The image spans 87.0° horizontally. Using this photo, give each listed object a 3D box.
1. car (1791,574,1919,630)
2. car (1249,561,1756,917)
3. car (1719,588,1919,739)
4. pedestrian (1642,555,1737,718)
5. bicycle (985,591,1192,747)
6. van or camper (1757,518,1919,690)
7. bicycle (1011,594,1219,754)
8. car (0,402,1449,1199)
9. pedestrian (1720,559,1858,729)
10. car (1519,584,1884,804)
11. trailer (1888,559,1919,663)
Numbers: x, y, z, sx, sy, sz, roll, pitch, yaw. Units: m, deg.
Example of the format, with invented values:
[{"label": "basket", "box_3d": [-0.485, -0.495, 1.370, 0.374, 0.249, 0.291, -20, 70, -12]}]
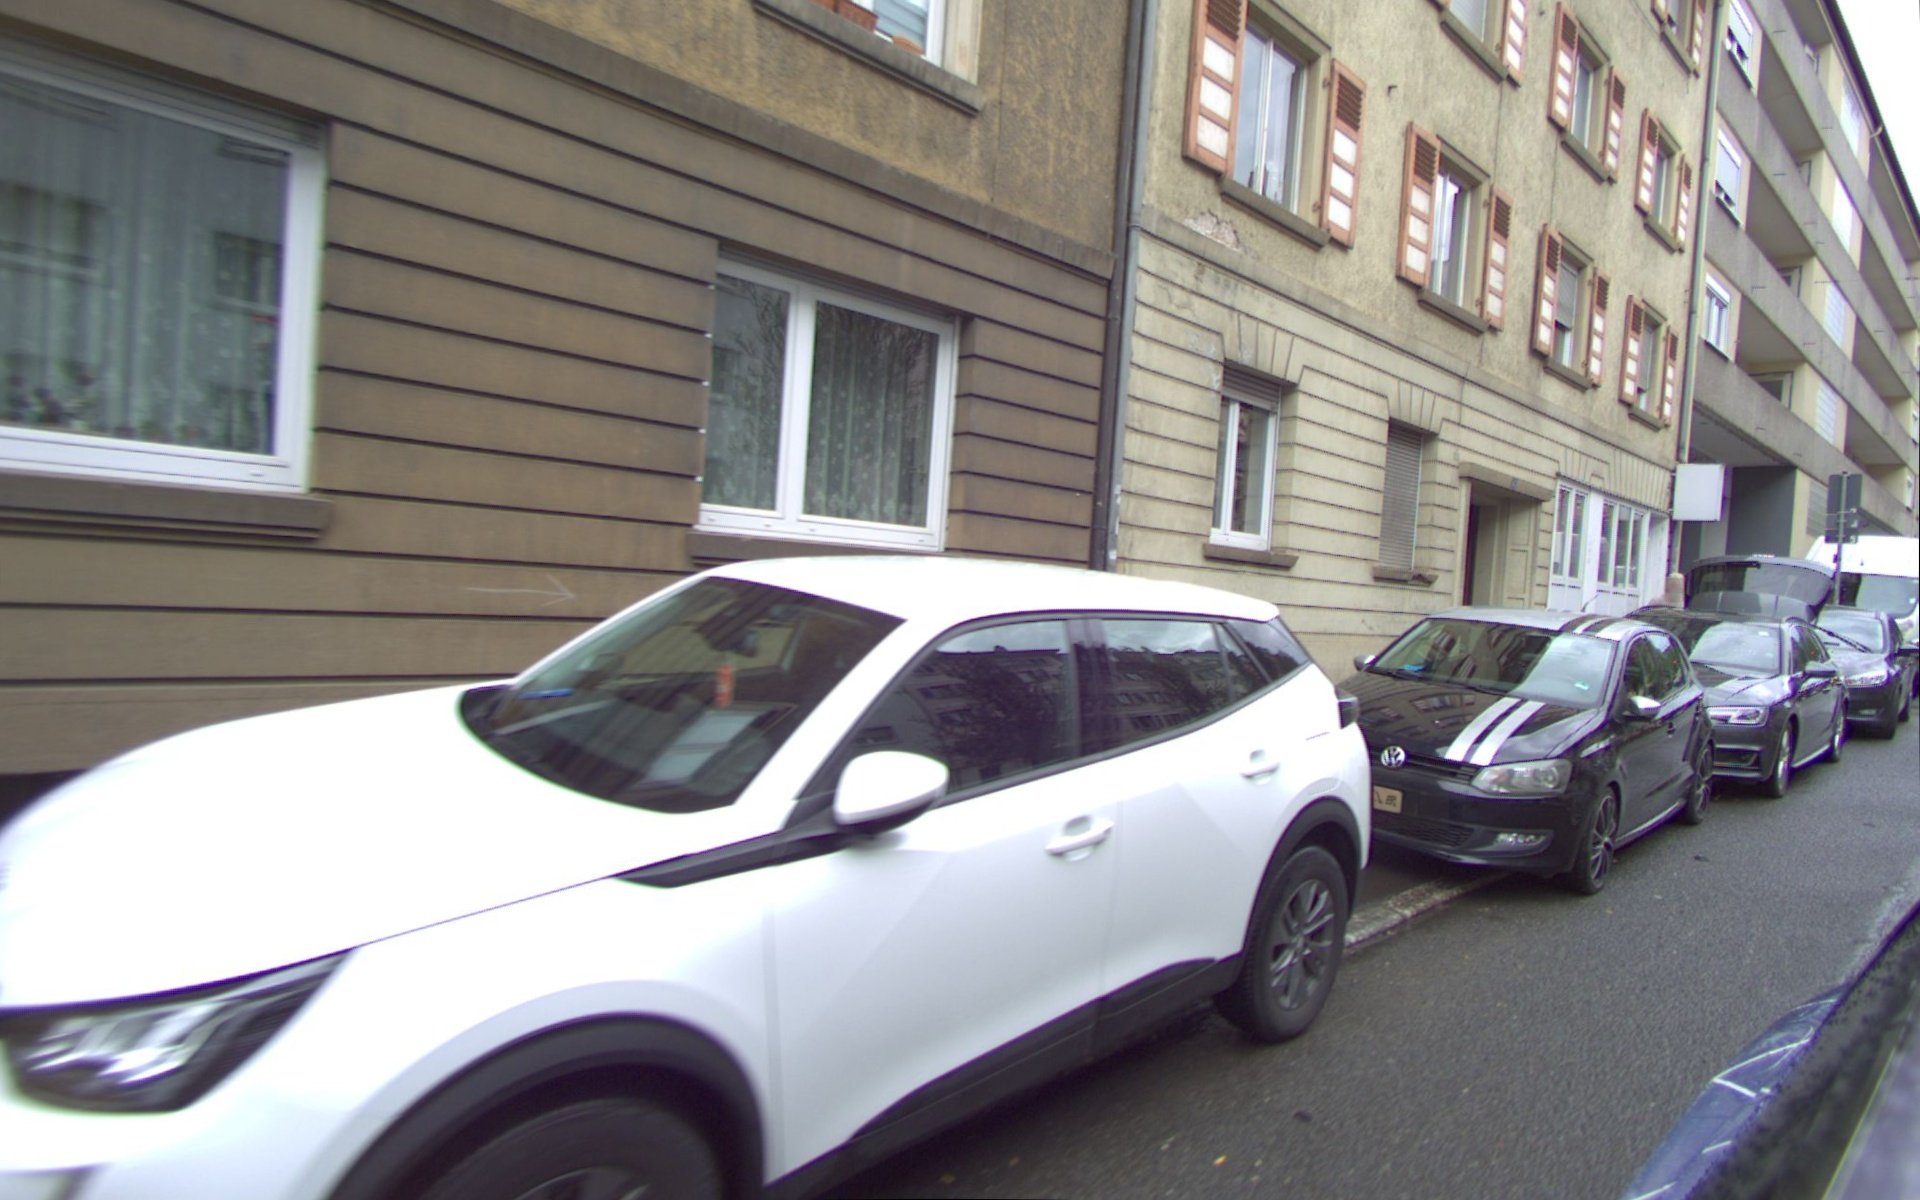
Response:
[{"label": "car", "box_3d": [38.586, 0.062, 43.093, 1.958, 2.038, 4.475, 3, 3, -22]}, {"label": "car", "box_3d": [3.608, 0.611, 6.450, 3.672, 1.495, 1.636, 0, 6, -43]}, {"label": "car", "box_3d": [11.193, 0.657, 12.873, 4.121, 1.497, 1.780, -1, 4, -44]}, {"label": "pedestrian", "box_3d": [8.574, 0.399, 11.928, 0.681, 1.808, 0.707, 5, 5, 28]}, {"label": "bicycle", "box_3d": [1.076, 0.491, 8.016, 2.069, 1.086, 0.248, -1, 6, -41]}, {"label": "van or camper", "box_3d": [17.342, 0.045, 18.710, 6.296, 2.732, 2.193, 1, 3, -35]}, {"label": "bicycle", "box_3d": [1.255, 0.513, 7.843, 2.069, 1.086, 0.248, -1, 6, -41]}, {"label": "car", "box_3d": [-0.274, 0.515, 3.041, 4.124, 1.657, 1.635, 0, 6, -43]}, {"label": "pedestrian", "box_3d": [9.049, 0.468, 11.080, 0.622, 1.708, 0.634, 5, 8, -6]}, {"label": "car", "box_3d": [7.087, 0.650, 9.479, 4.508, 1.497, 1.781, -1, 4, -42]}, {"label": "trailer", "box_3d": [22.648, 0.356, 22.557, 4.979, 2.178, 2.000, 2, 4, -39]}]
